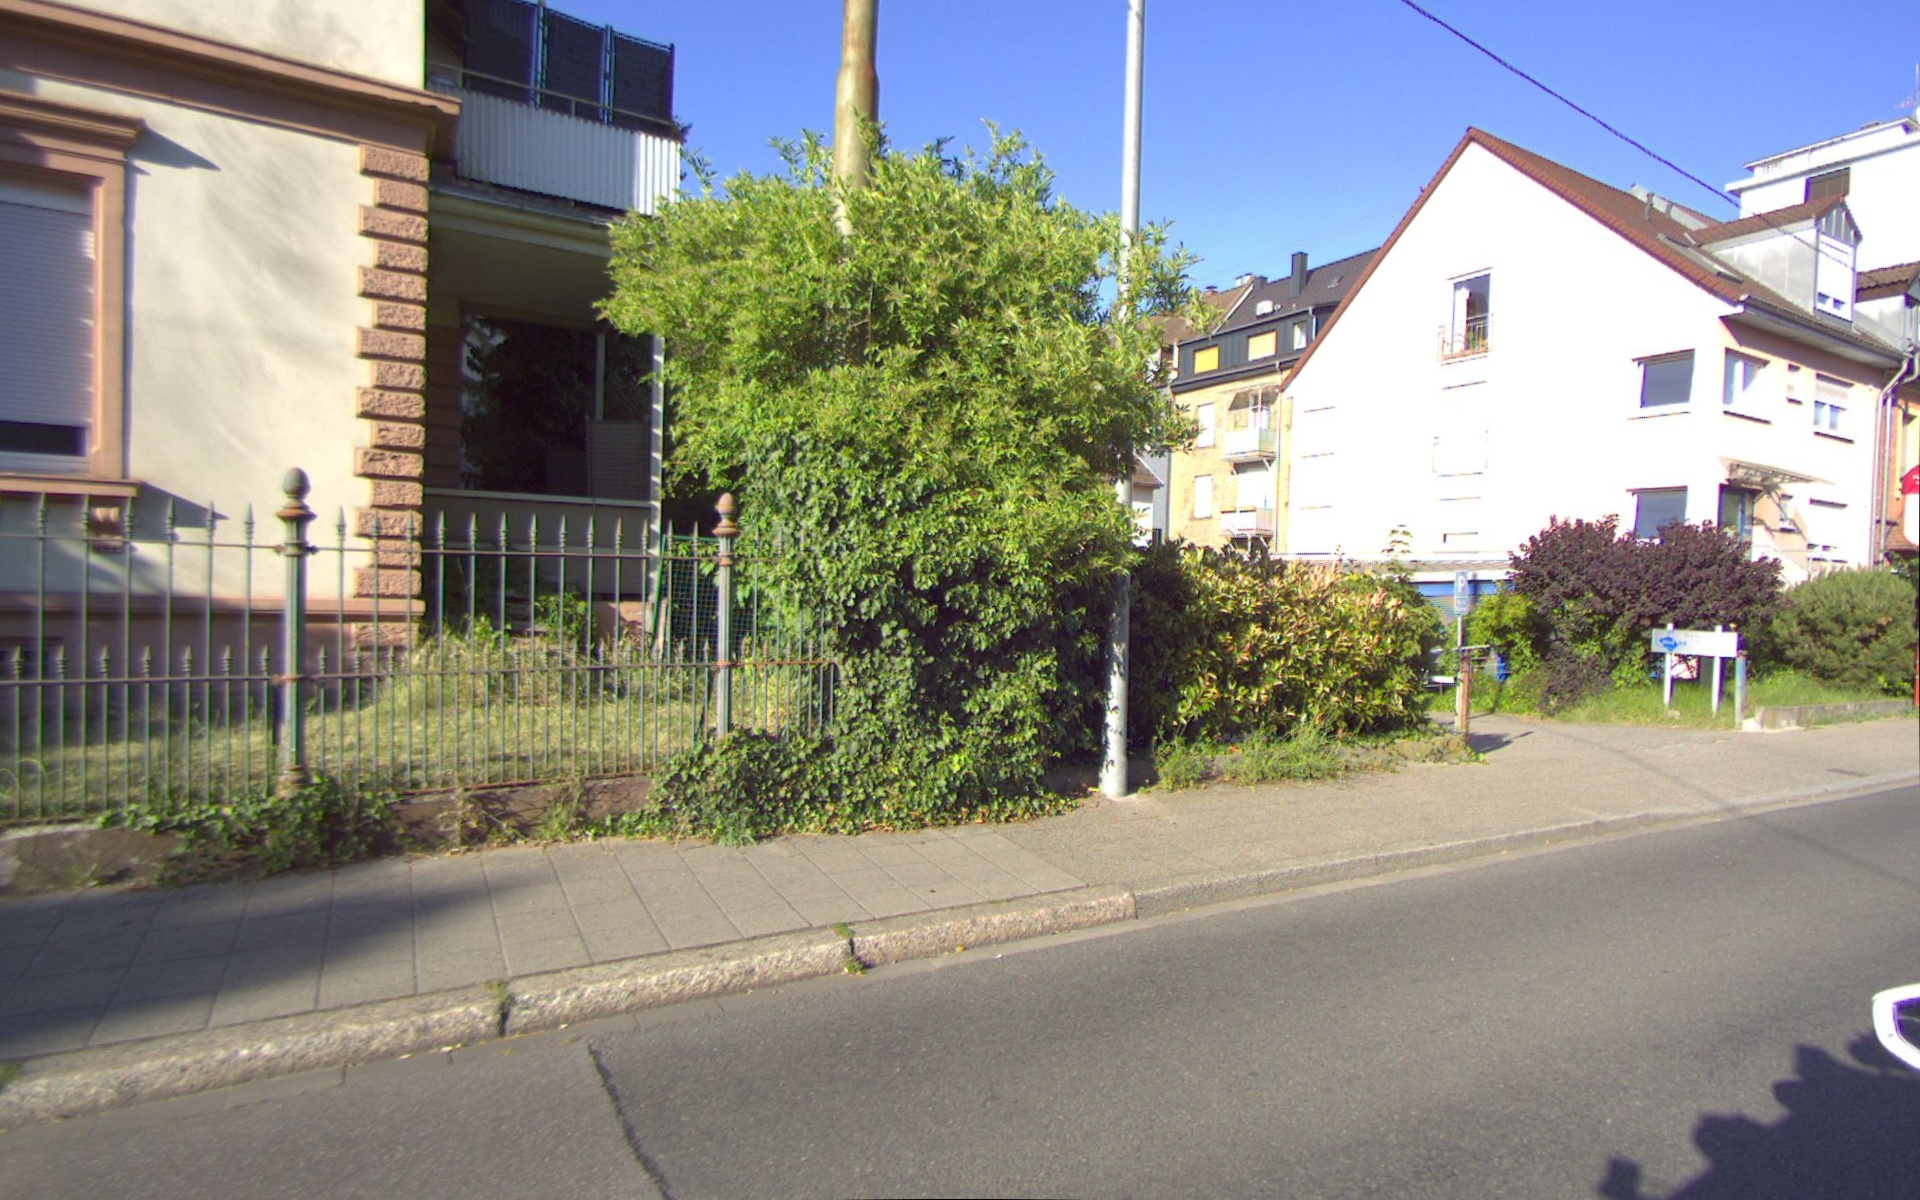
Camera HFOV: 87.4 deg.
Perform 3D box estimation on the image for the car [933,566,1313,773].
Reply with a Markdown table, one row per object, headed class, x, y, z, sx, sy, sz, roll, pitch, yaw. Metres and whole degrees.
| class | x | y | z | sx | sy | sz | roll | pitch | yaw |
| --- | --- | --- | --- | --- | --- | --- | --- | --- | --- |
| car | 1.720 | 0.721 | 10.541 | 3.626 | 1.838 | 1.695 | 1 | -6 | -29 |
